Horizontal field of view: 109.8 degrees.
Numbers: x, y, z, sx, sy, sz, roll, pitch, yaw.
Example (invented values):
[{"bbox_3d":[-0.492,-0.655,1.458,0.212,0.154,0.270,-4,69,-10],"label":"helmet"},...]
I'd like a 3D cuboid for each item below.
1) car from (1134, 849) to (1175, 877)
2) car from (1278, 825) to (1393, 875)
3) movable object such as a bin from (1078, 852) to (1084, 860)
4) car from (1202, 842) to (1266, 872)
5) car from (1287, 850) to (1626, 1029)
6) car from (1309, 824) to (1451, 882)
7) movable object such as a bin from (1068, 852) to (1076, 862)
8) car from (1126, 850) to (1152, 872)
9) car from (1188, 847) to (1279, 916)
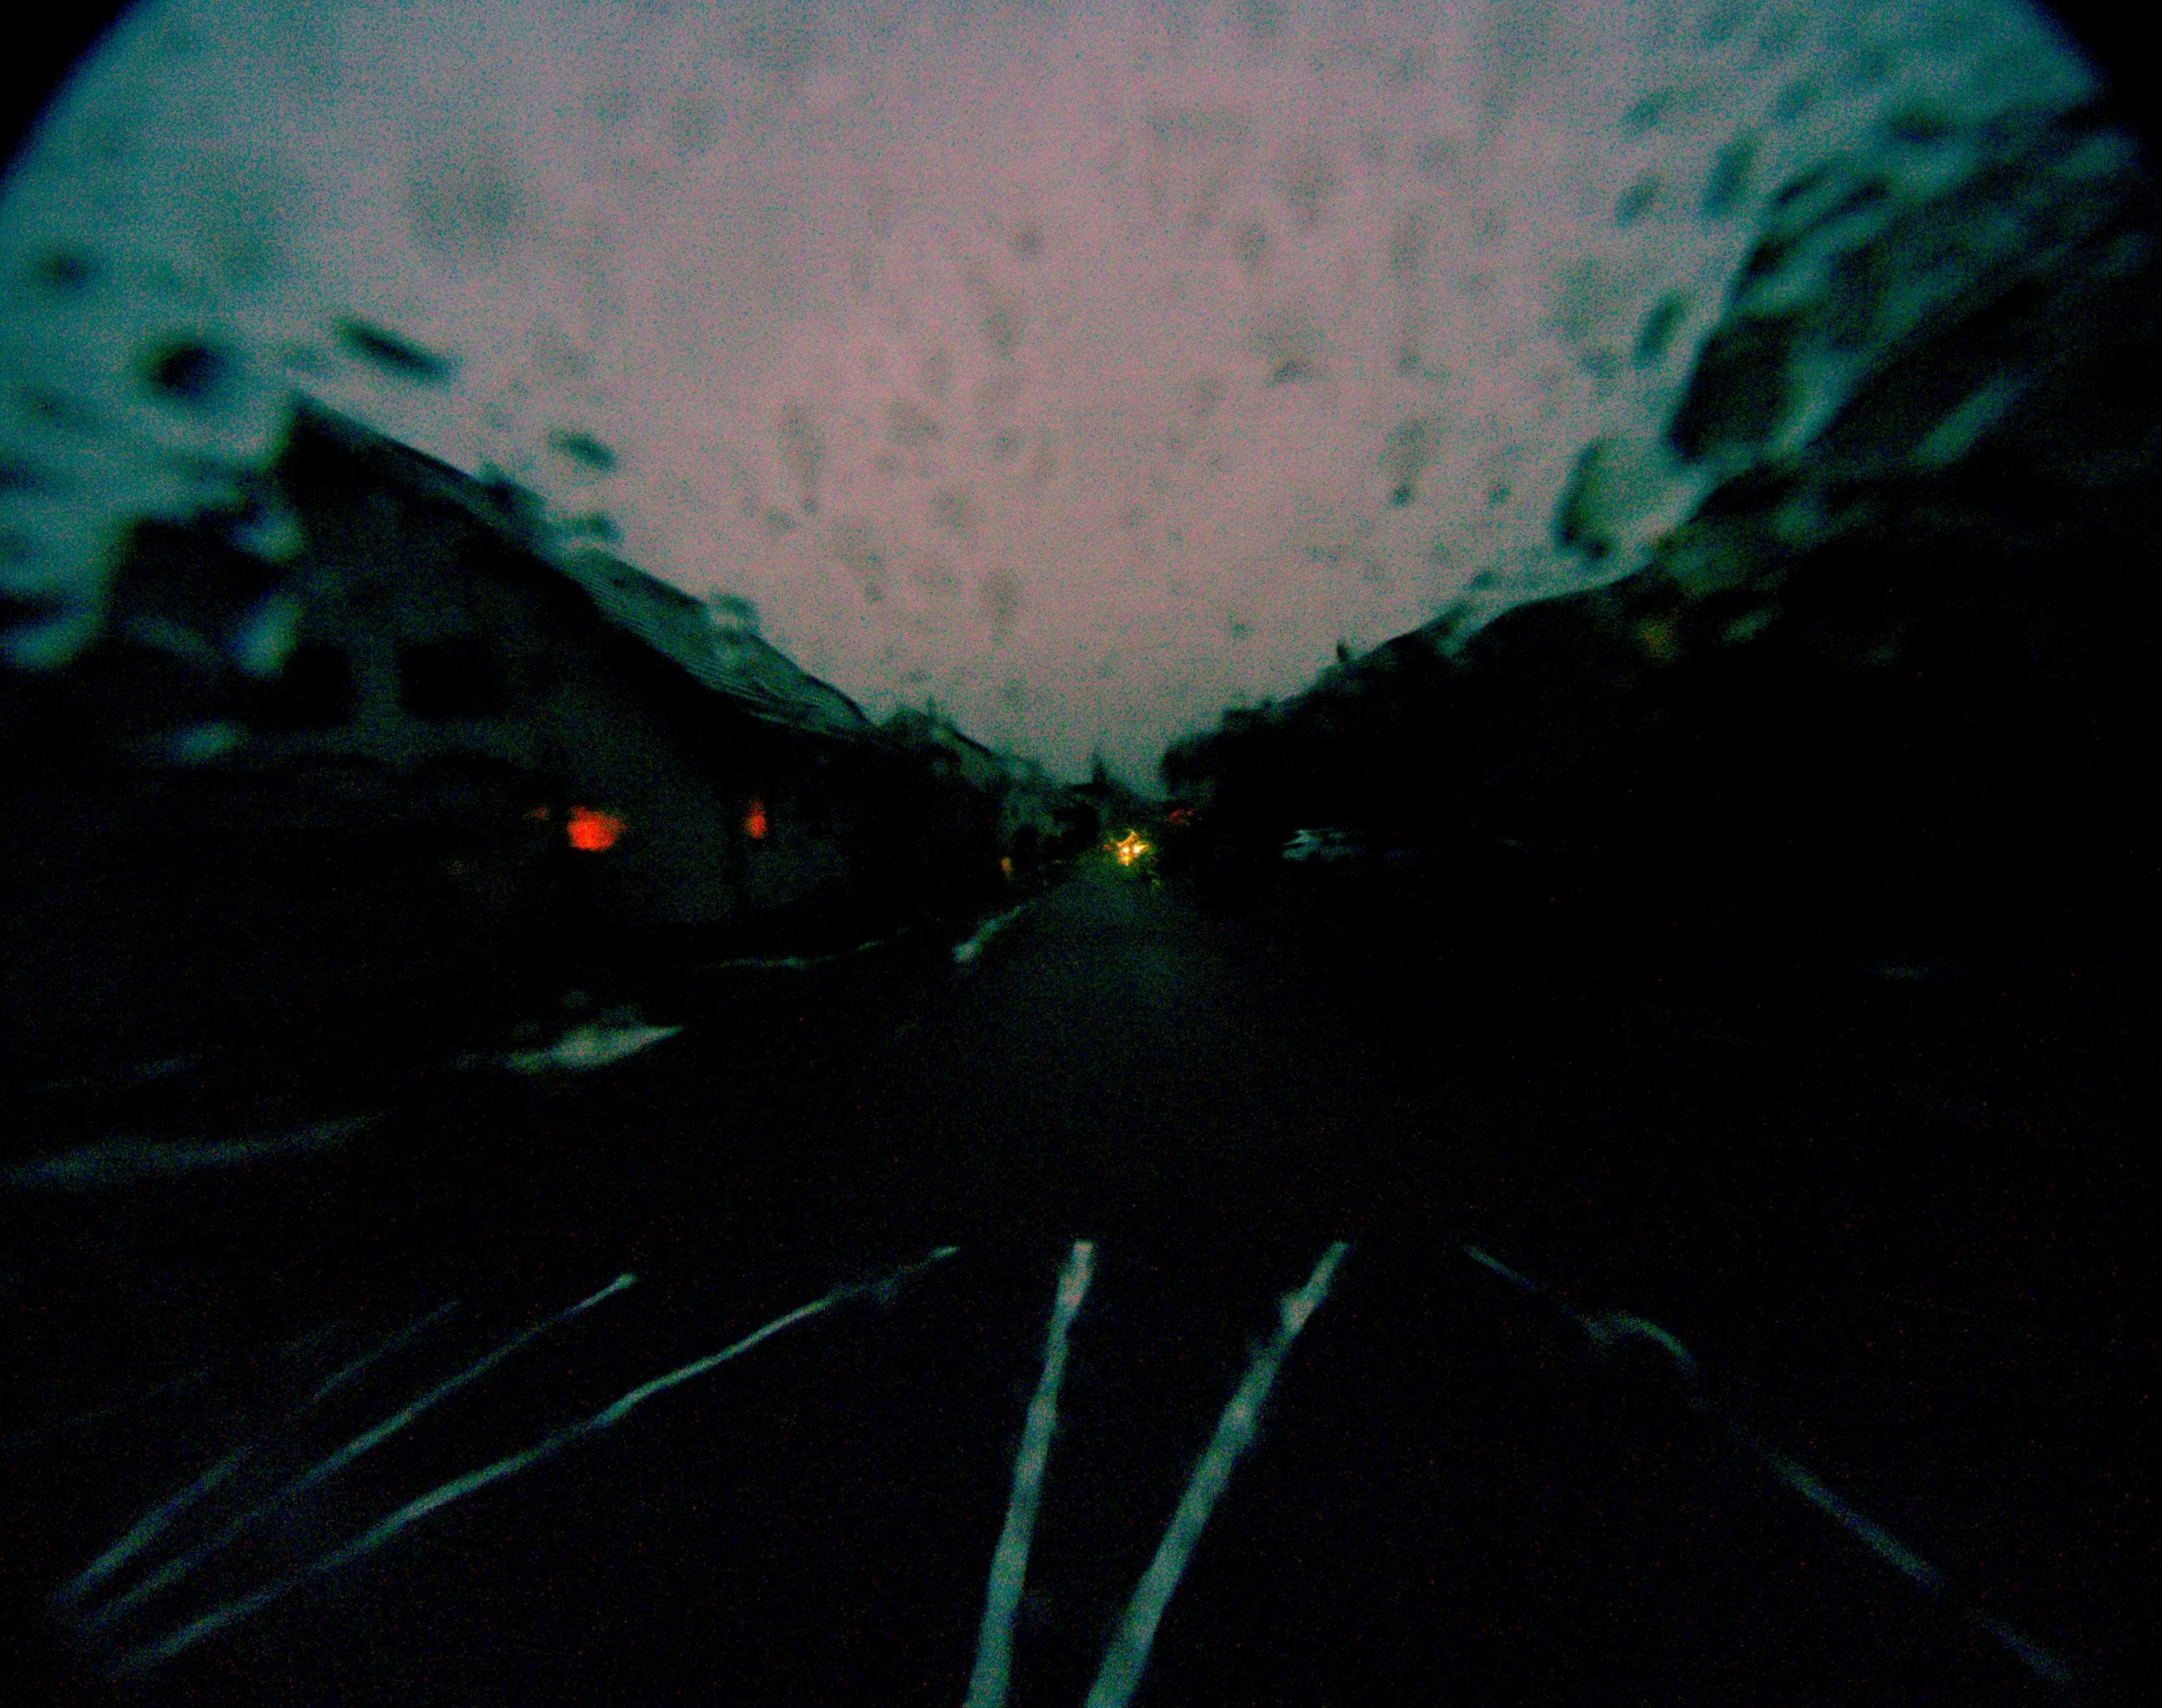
[{"bbox_3d":[4.171,0.471,43.936,1.882,1.386,5.074,-3,1,1],"label":"car"},{"bbox_3d":[10.301,-0.175,31.005,3.996,1.737,2.000,-3,1,2],"label":"car"},{"bbox_3d":[0.032,0.218,85.943,0.538,0.933,0.690,-3,2,10],"label":"movable object such as a bin"},{"bbox_3d":[9.095,0.177,45.336,3.471,1.519,1.774,-4,1,5],"label":"car"},{"bbox_3d":[3.872,0.738,8.802,1.798,1.495,4.309,-2,1,1],"label":"car"},{"bbox_3d":[9.852,-0.045,25.296,3.995,1.609,1.889,-4,1,7],"label":"car"},{"bbox_3d":[-0.912,0.305,73.705,0.638,0.912,0.686,-4,2,6],"label":"movable object such as a bin"},{"bbox_3d":[4.232,0.484,55.500,1.622,1.430,3.655,-3,1,1],"label":"car"},{"bbox_3d":[4.069,0.667,20.898,1.688,1.575,4.174,-3,1,1],"label":"car"}]
